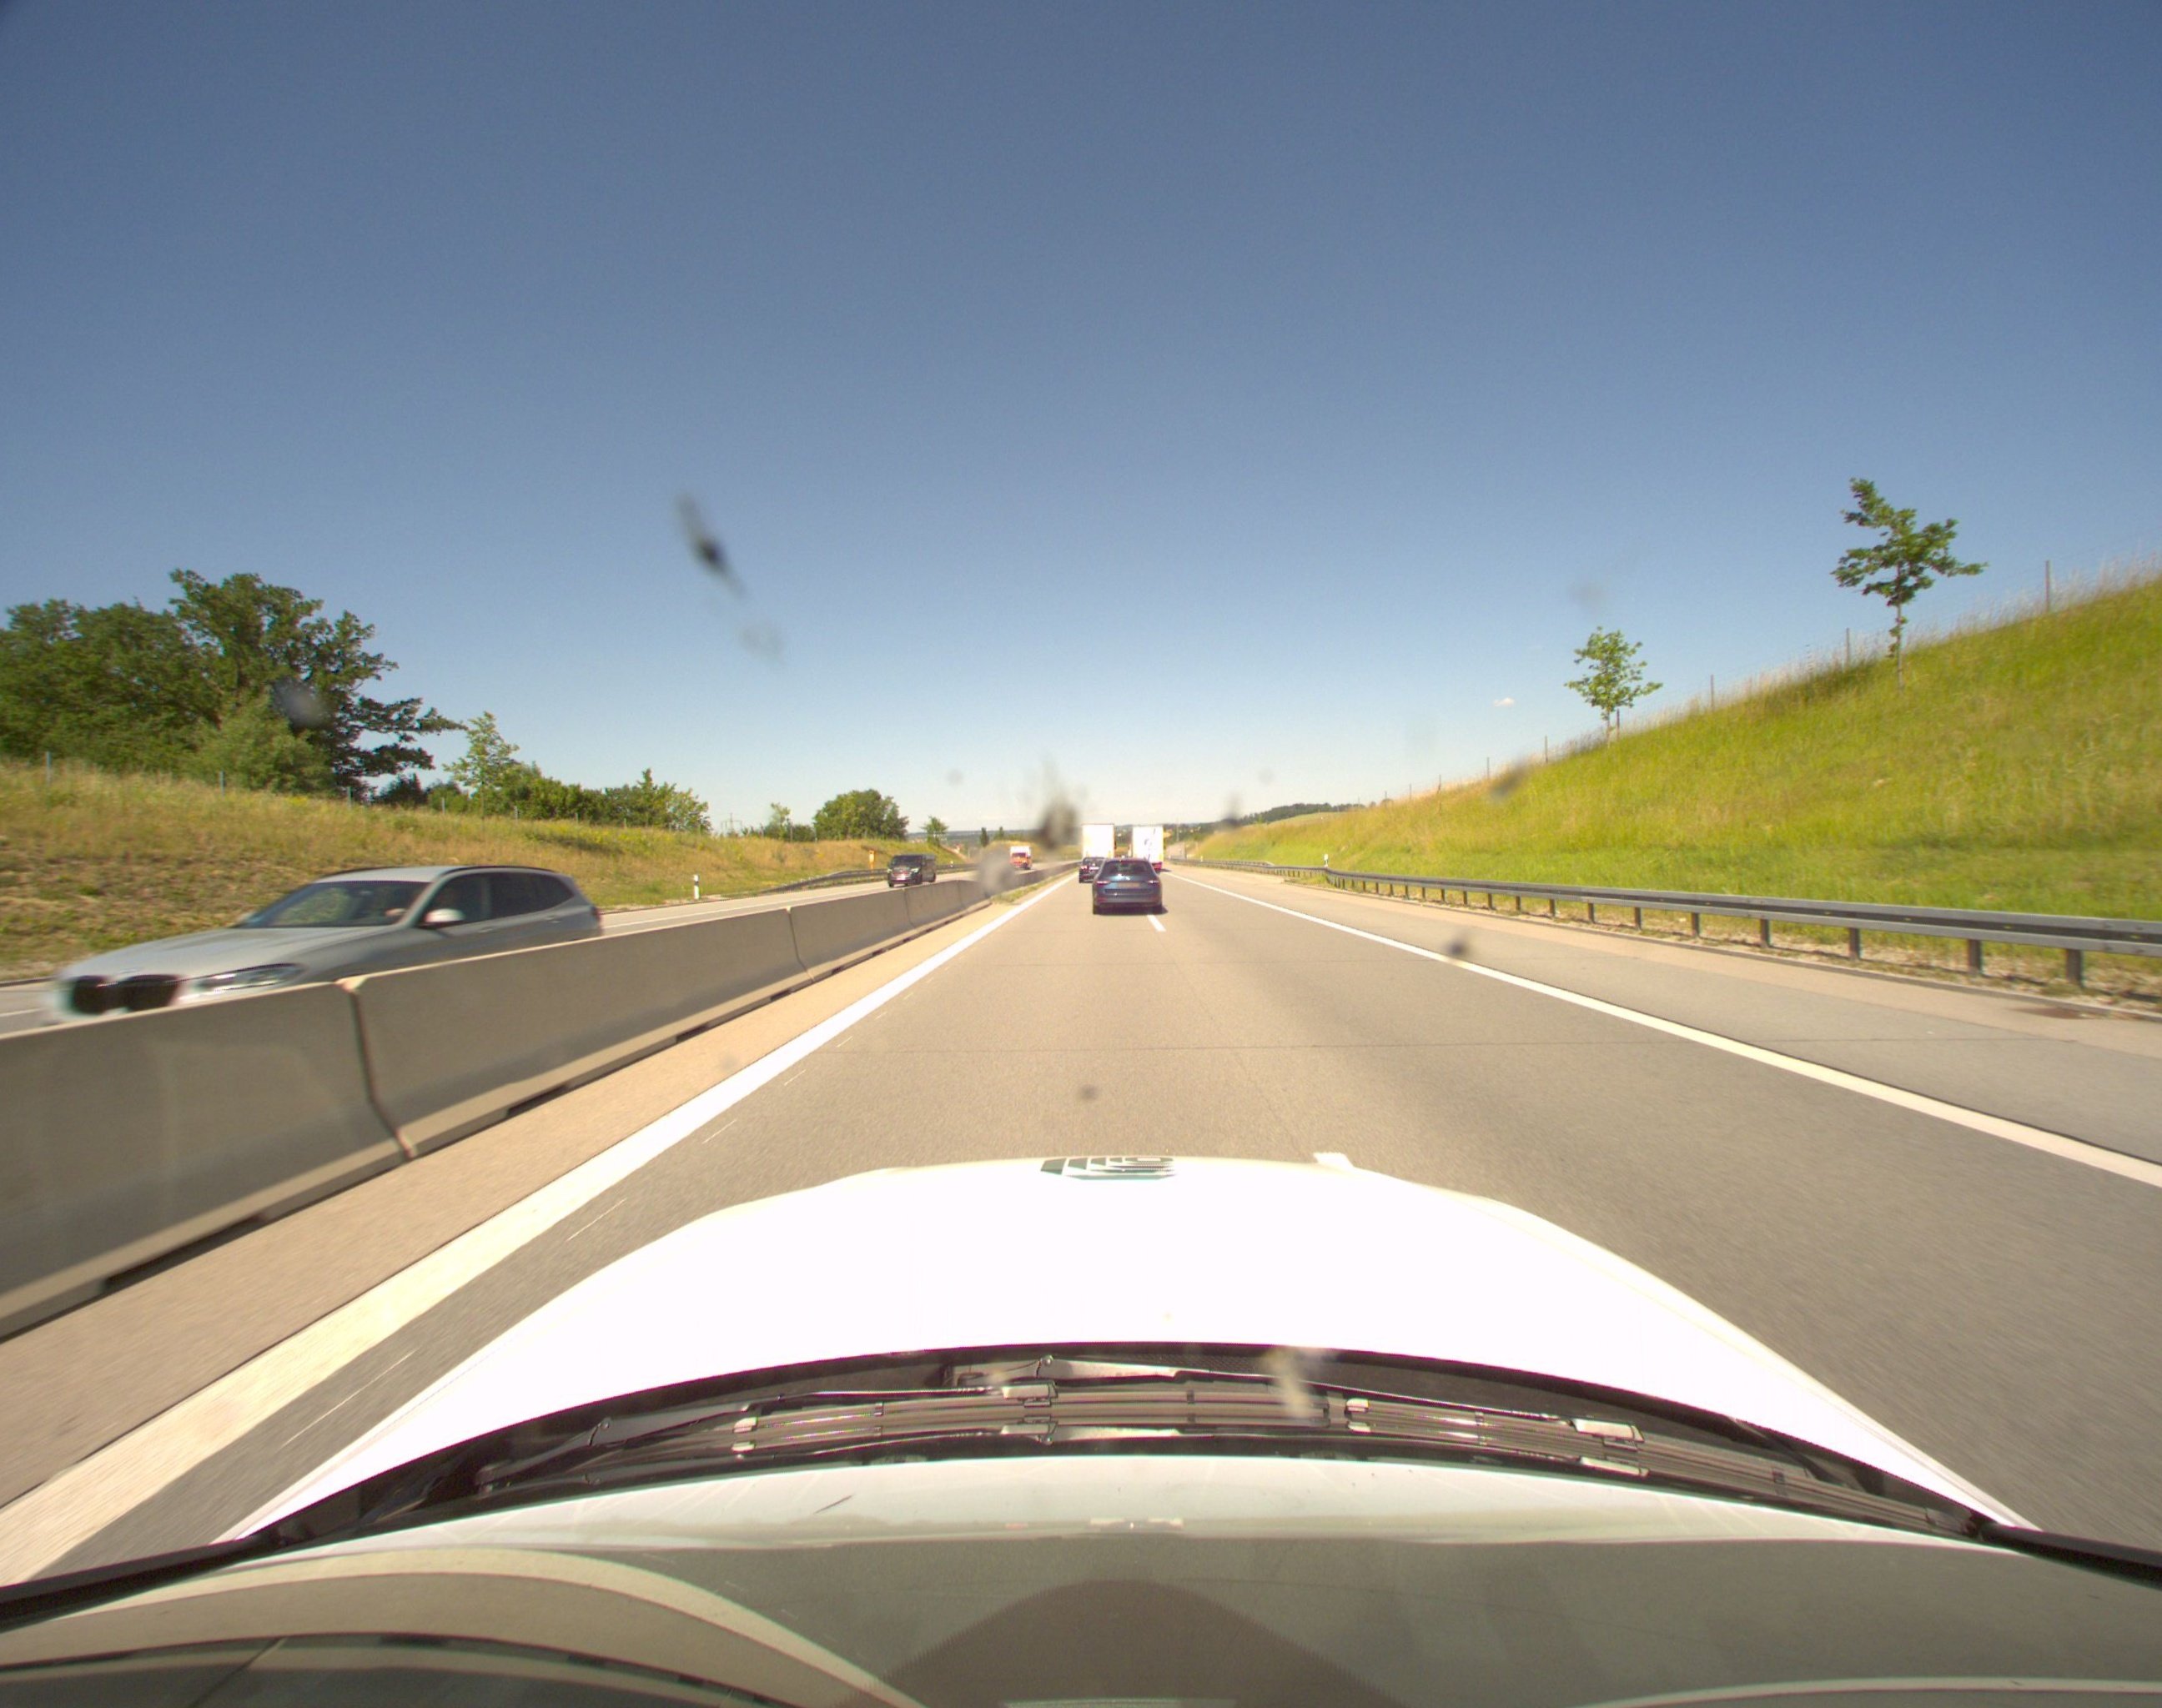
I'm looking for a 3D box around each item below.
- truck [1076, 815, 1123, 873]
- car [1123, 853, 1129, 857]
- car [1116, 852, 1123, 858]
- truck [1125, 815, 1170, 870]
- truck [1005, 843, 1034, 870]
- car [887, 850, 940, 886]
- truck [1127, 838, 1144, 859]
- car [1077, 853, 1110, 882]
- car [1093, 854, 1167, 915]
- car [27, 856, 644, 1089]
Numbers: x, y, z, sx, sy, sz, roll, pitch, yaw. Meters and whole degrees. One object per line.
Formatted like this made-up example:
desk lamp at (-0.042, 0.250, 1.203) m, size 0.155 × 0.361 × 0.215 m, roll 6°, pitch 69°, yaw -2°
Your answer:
truck at (1.744, -0.809, 70.055) m, size 3.196 × 4.381 × 11.247 m, roll -4°, pitch 0°, yaw 4°
car at (13.591, 0.304, 247.079) m, size 1.693 × 1.441 × 4.003 m, roll -1°, pitch 0°, yaw 3°
car at (9.767, 0.237, 205.777) m, size 1.693 × 1.441 × 4.003 m, roll -1°, pitch 0°, yaw 3°
truck at (6.068, -1.000, 74.828) m, size 3.588 × 4.381 × 11.246 m, roll -4°, pitch 0°, yaw 4°
truck at (-7.360, 0.277, 98.601) m, size 2.764 × 3.021 × 6.795 m, roll -1°, pitch 0°, yaw 2°
car at (-9.876, 0.773, 48.399) m, size 1.986 × 2.013 × 4.972 m, roll 0°, pitch 0°, yaw 2°
truck at (12.685, -1.228, 188.572) m, size 3.588 × 4.381 × 11.246 m, roll -4°, pitch 0°, yaw 4°
car at (0.712, 0.713, 45.883) m, size 1.694 × 1.441 × 4.000 m, roll -4°, pitch 0°, yaw 0°
car at (1.223, 0.750, 21.751) m, size 1.771 × 1.441 × 3.788 m, roll -1°, pitch 0°, yaw 0°
car at (-6.974, 0.911, 8.622) m, size 1.924 × 1.732 × 4.888 m, roll 0°, pitch 0°, yaw 2°
